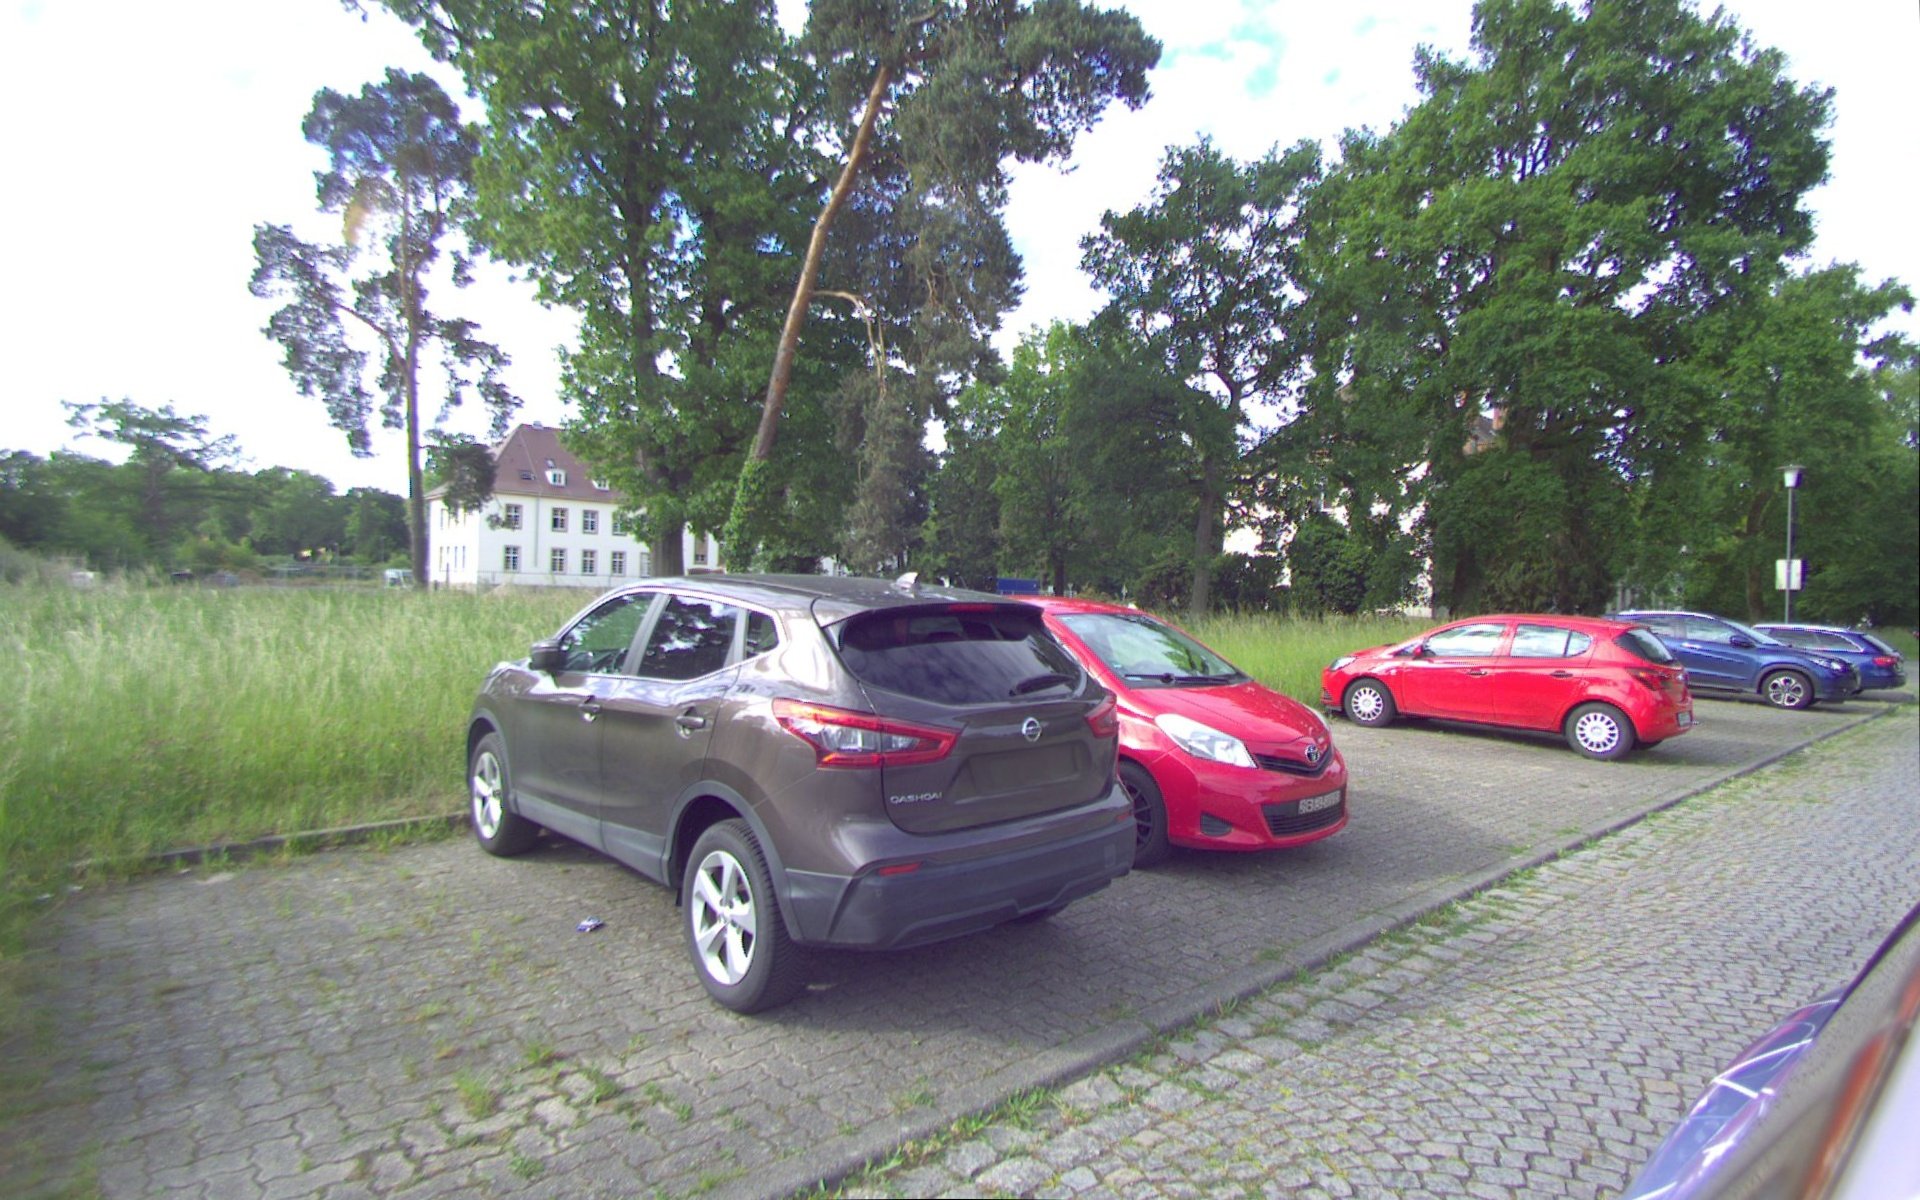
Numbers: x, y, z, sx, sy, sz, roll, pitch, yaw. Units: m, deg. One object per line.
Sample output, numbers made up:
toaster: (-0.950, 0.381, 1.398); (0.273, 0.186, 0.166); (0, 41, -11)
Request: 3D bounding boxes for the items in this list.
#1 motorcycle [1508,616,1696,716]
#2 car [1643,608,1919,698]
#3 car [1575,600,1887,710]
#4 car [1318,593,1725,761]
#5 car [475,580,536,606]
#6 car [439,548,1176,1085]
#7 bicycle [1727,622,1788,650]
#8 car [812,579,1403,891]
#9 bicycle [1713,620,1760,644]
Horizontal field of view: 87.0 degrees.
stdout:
motorcycle: (9.492, 0.935, 15.046); (2.265, 1.291, 0.596); (3, 1, 44)
car: (17.637, 1.056, 21.758); (1.860, 1.483, 4.518); (2, 1, -38)
car: (14.087, 0.918, 18.687); (1.862, 1.593, 4.271); (2, 1, -41)
car: (6.487, 0.766, 11.997); (1.708, 1.524, 3.845); (2, 1, -42)
car: (-37.636, -0.555, 83.755); (5.811, 2.039, 2.450); (0, 0, 41)
car: (-1.078, 0.619, 5.078); (1.732, 1.600, 3.955); (1, 0, -43)
bicycle: (34.958, 1.562, 44.394); (1.999, 1.101, 0.474); (2, 2, 28)
car: (0.776, 0.666, 7.189); (1.708, 1.537, 3.994); (2, 0, -41)
bicycle: (38.296, 1.575, 49.943); (1.734, 1.101, 0.548); (2, 2, 28)
